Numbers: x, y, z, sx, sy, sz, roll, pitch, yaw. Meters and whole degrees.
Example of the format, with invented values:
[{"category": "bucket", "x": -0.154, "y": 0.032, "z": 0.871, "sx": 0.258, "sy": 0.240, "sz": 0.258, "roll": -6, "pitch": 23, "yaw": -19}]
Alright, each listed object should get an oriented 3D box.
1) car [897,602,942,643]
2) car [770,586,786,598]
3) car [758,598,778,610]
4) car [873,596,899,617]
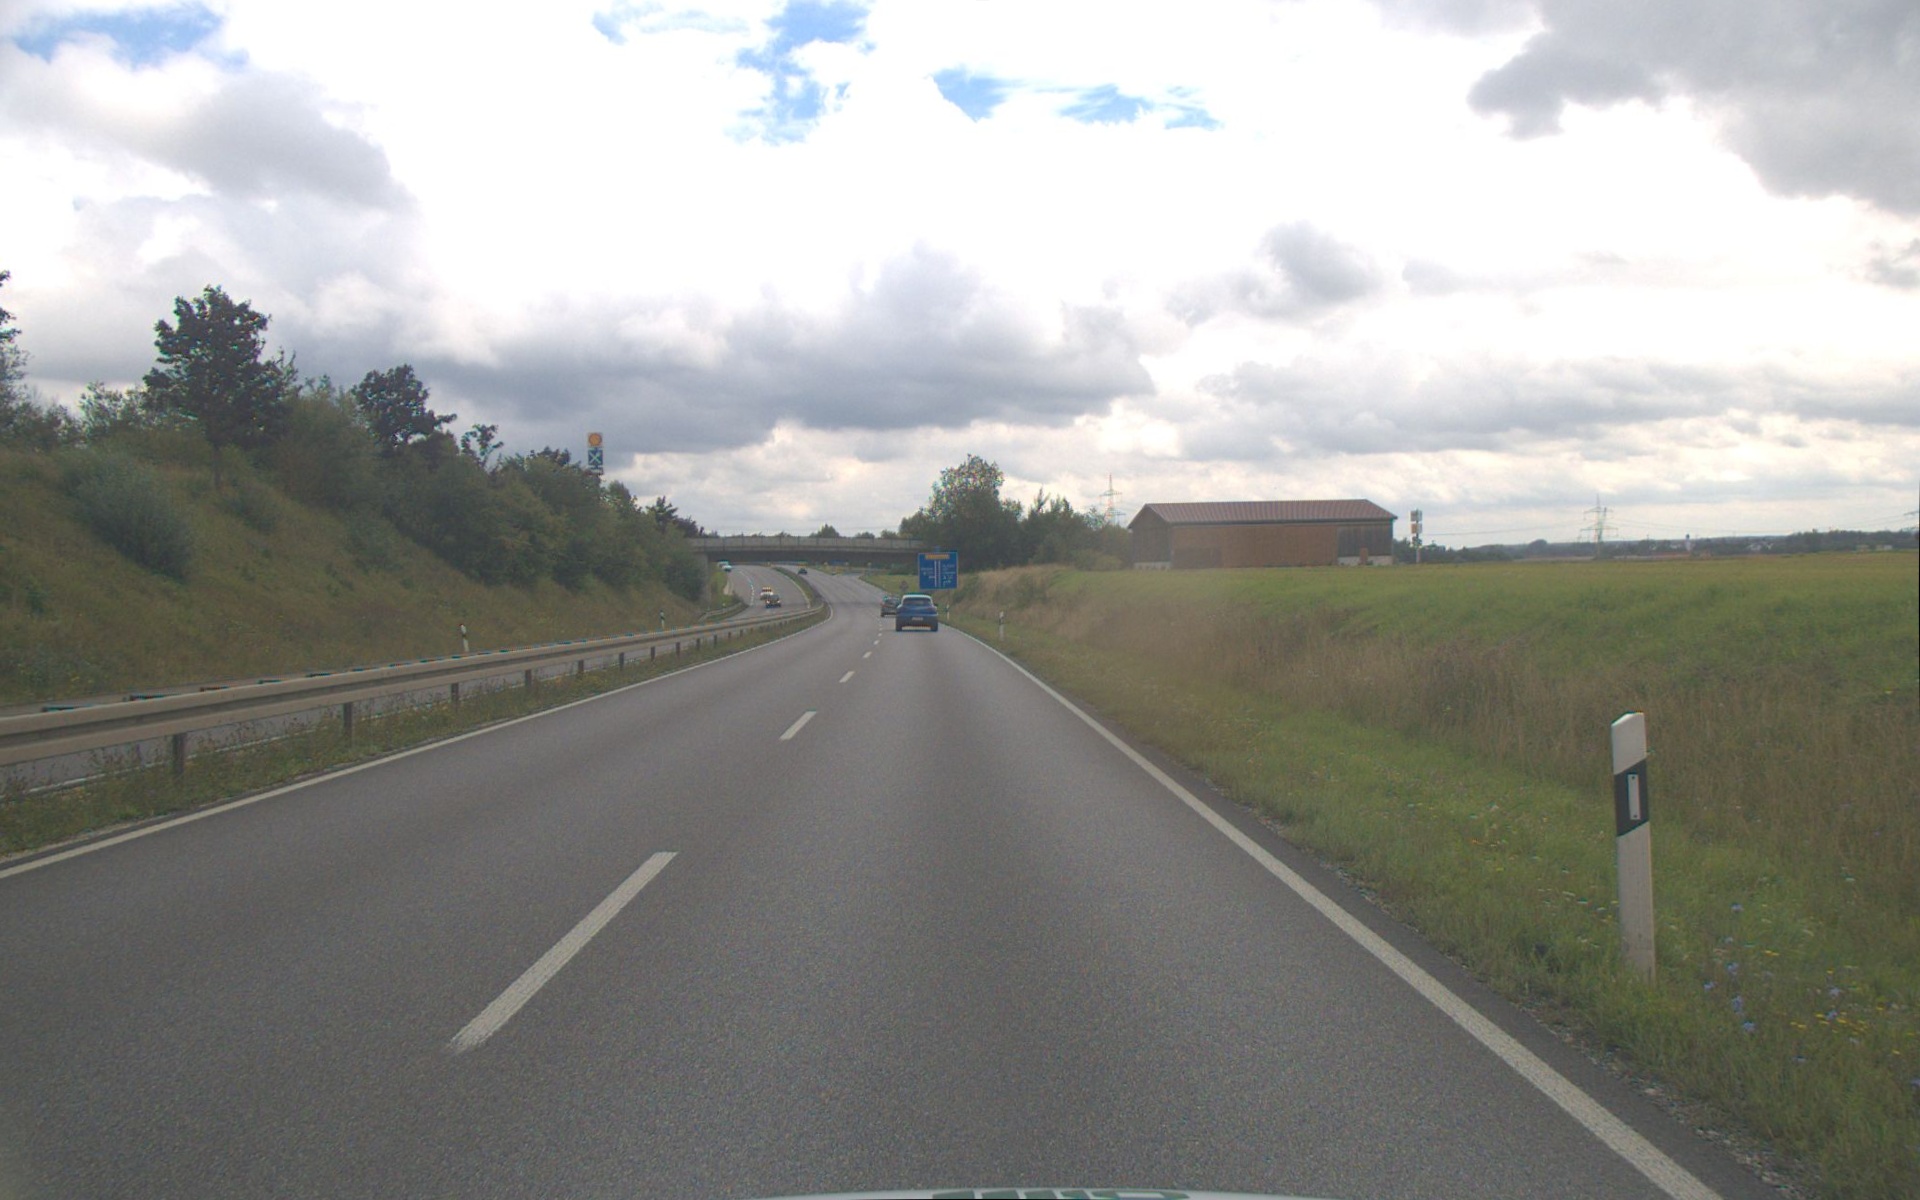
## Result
[{"category": "car", "x": -1.872, "y": 0.996, "z": 75.577, "sx": 1.992, "sy": 1.689, "sz": 4.542, "roll": 0, "pitch": 2, "yaw": -2}, {"category": "car", "x": -24.903, "y": -1.073, "z": 226.123, "sx": 1.954, "sy": 1.478, "sz": 3.998, "roll": -1, "pitch": 1, "yaw": -4}, {"category": "car", "x": -22.141, "y": 0.470, "z": 190.844, "sx": 1.954, "sy": 1.327, "sz": 4.819, "roll": -1, "pitch": 1, "yaw": -3}, {"category": "car", "x": -5.975, "y": 0.510, "z": 133.386, "sx": 1.880, "sy": 1.478, "sz": 4.360, "roll": -1, "pitch": 1, "yaw": -5}]
